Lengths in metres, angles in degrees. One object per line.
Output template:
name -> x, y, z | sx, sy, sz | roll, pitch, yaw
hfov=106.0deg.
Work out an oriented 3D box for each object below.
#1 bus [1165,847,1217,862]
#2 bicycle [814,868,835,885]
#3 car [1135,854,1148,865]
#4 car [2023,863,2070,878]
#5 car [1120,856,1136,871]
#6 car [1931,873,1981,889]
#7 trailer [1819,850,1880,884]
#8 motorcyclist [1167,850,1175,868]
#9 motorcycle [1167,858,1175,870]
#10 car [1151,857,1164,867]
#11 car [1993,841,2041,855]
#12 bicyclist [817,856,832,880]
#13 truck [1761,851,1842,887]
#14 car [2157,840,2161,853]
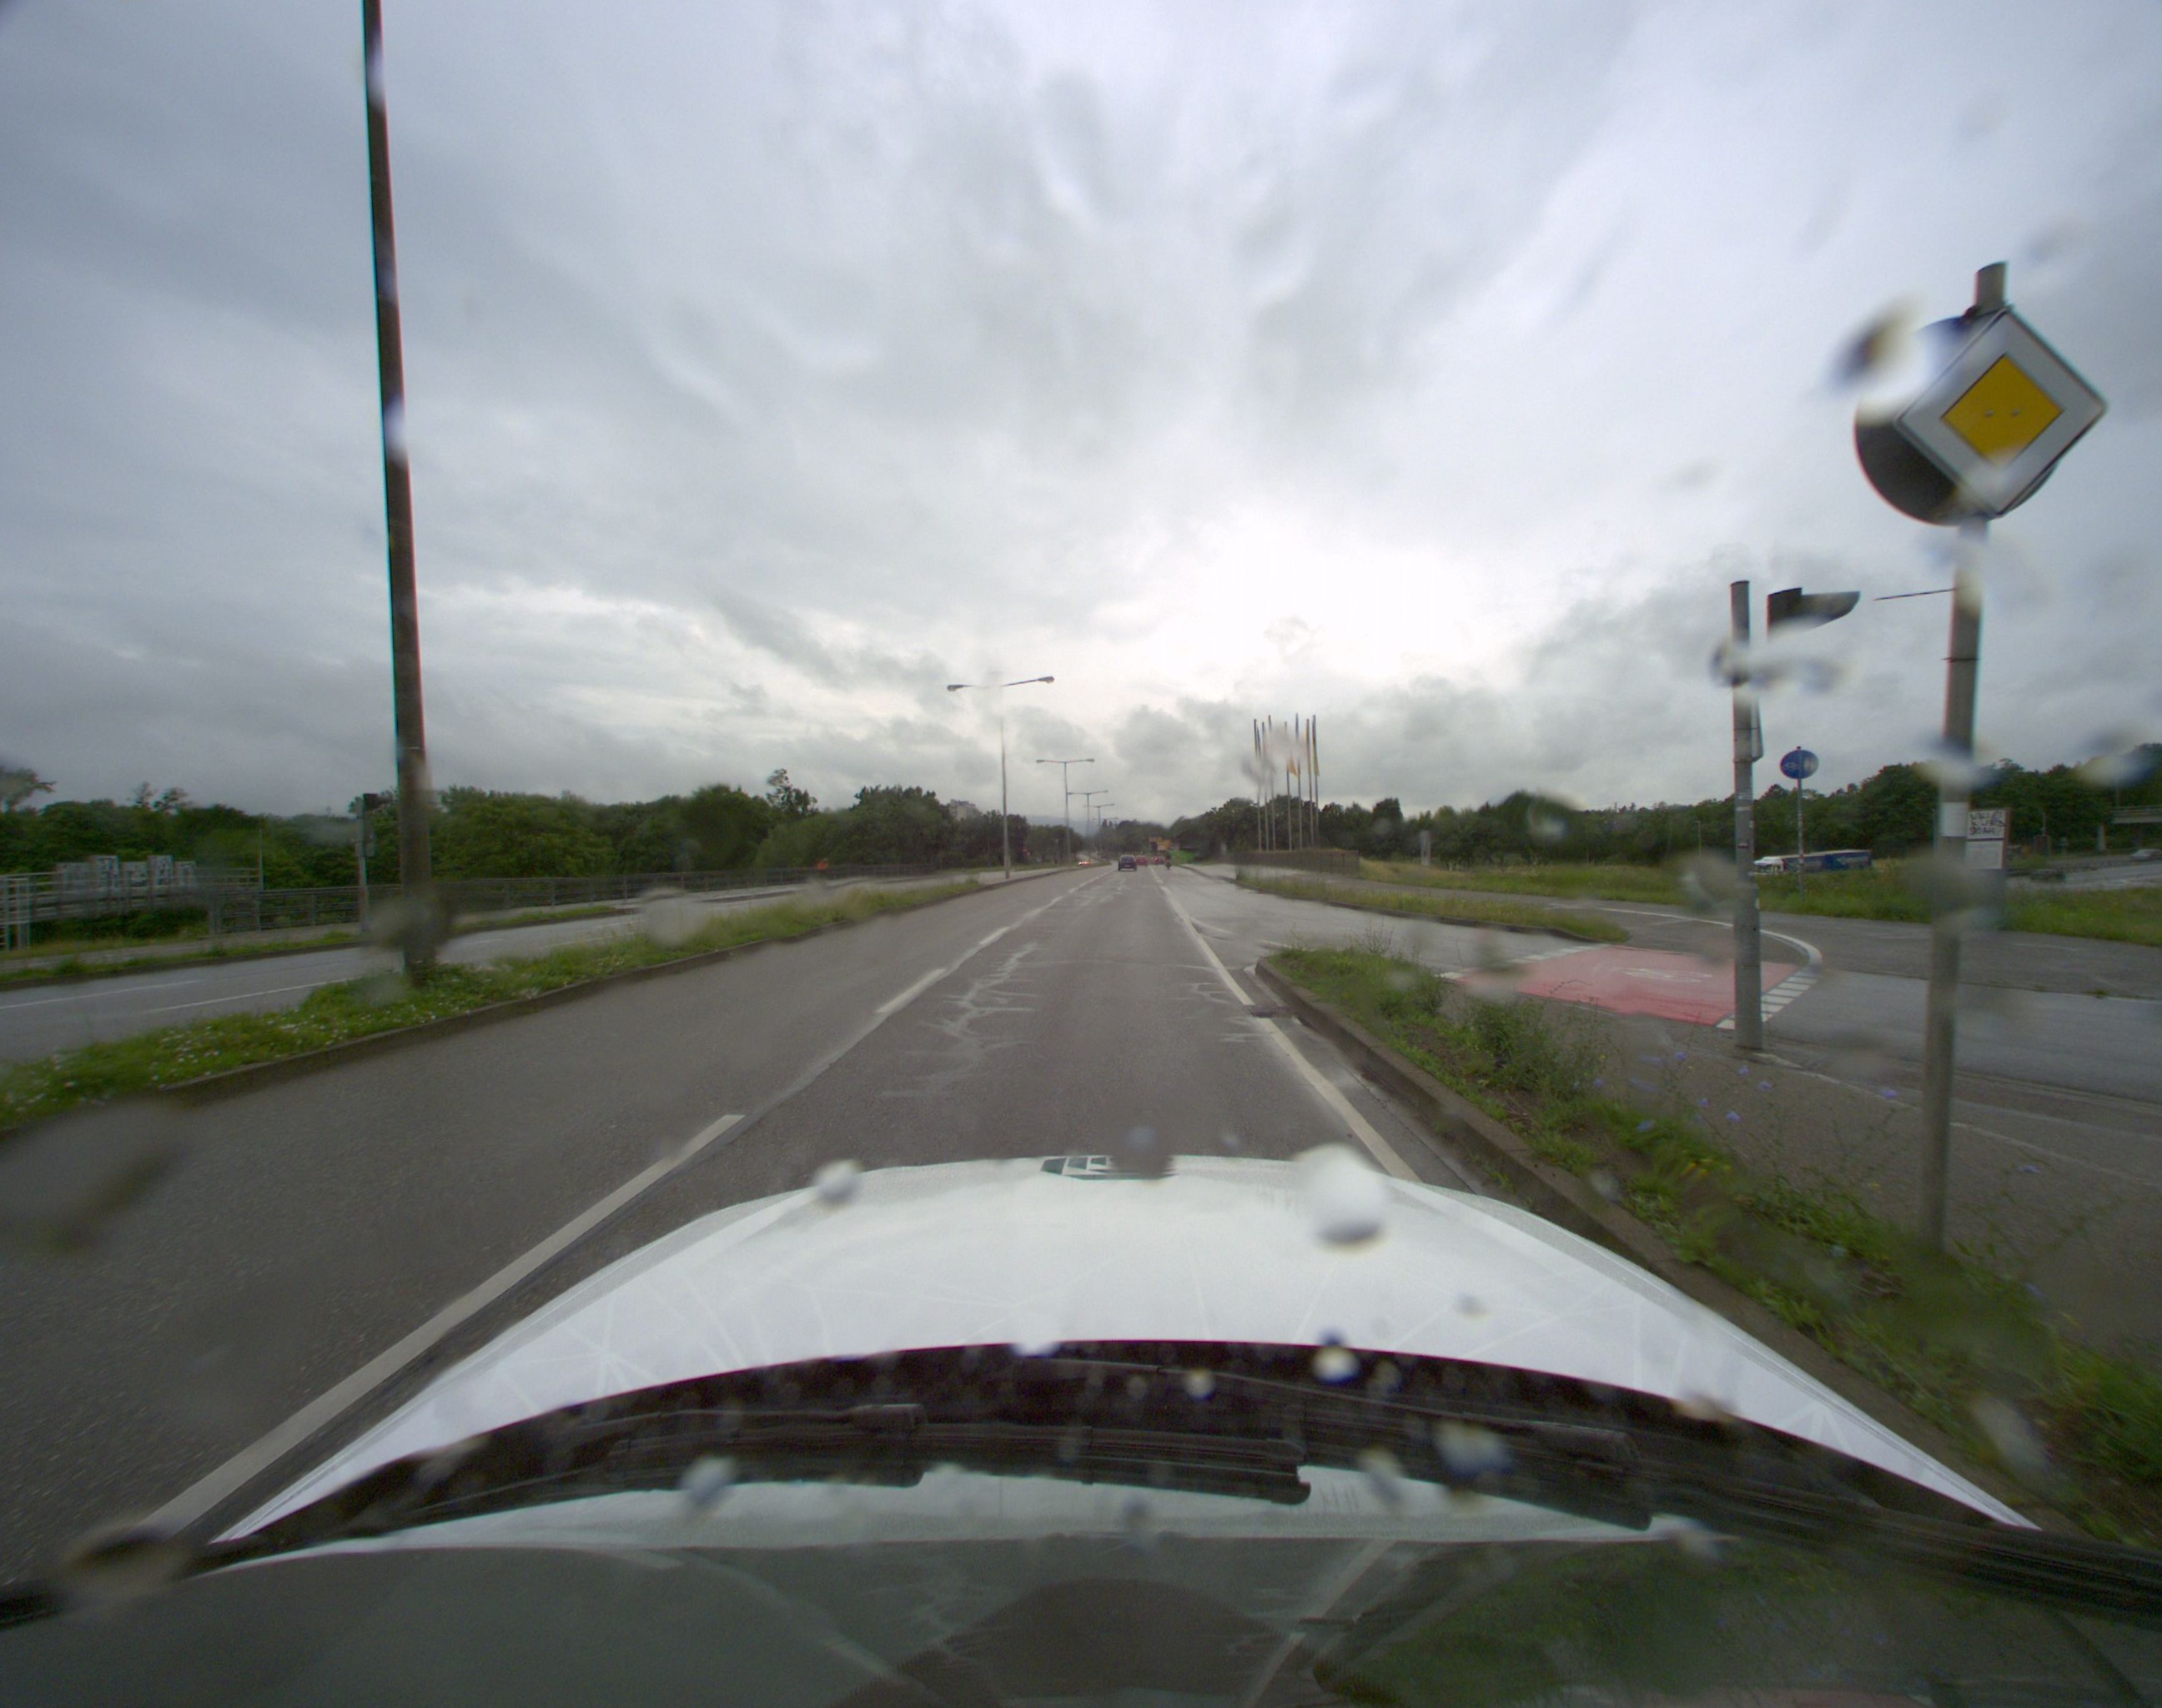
bus -> 21.097, 0.152, 155.225 | 2.728, 2.680, 14.683 | -1, -1, 39
bicycle -> -16.628, 1.466, 52.776 | 0.606, 1.033, 2.003 | 0, 0, 4
car -> 7.757, 0.741, 104.821 | 1.457, 1.329, 3.760 | -1, 0, 3
car -> 113.670, 1.939, 95.849 | 3.992, 1.593, 1.991 | -1, 0, -14
car -> 4.268, 0.860, 74.505 | 1.457, 1.329, 3.760 | -1, 0, 3
car -> 93.766, 2.879, 87.313 | 3.992, 1.593, 1.991 | -1, 0, -14
trailer -> 99.441, 1.626, 105.415 | 7.368, 4.301, 2.553 | -1, 0, -18
motorcyclist -> 8.325, 0.443, 75.300 | 0.599, 1.690, 0.861 | -1, 0, 2
motorcycle -> 8.337, 0.906, 75.317 | 0.598, 1.093, 1.733 | -1, 0, 3
car -> 12.731, 1.366, 135.694 | 1.847, 1.618, 4.001 | 0, -1, 2
car -> 132.024, -0.852, 114.869 | 5.613, 1.965, 2.285 | -1, 0, -17
bicyclist -> -16.630, 0.904, 52.785 | 0.617, 1.500, 1.004 | 0, -1, 3
truck -> 90.738, 1.787, 102.522 | 10.937, 4.301, 2.553 | -1, 0, -18
car -> 170.321, -1.170, 126.820 | 3.995, 1.951, 1.989 | -1, 0, -16
